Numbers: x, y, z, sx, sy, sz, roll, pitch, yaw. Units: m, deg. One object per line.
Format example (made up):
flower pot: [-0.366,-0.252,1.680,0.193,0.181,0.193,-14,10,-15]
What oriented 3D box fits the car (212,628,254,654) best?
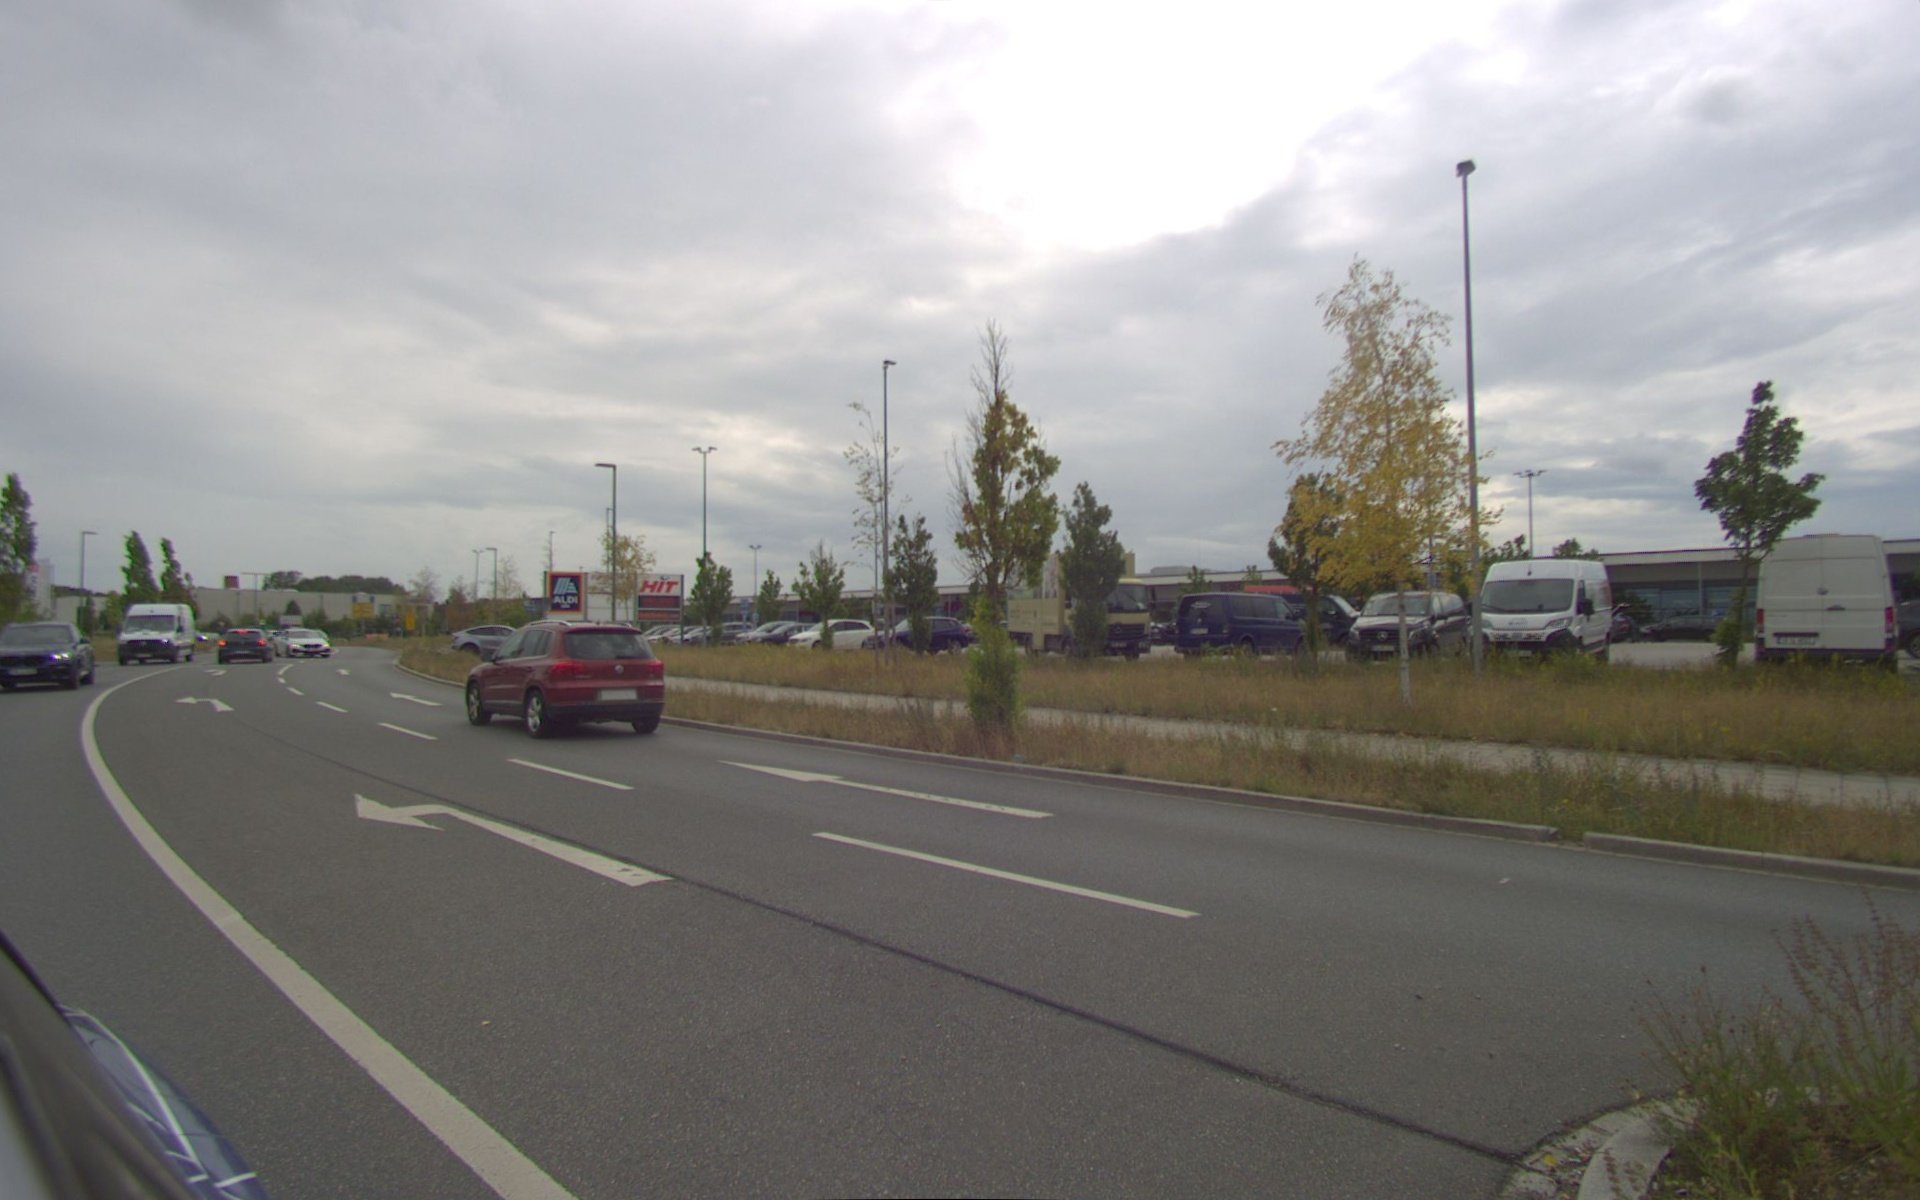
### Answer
car: [-47.126,2.659,65.552,1.731,1.597,4.004,1,-2,-43]

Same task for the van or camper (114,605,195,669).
van or camper: [-35.498,1.645,44.743,2.227,2.637,5.712,1,-3,-33]

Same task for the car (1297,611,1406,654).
car: [16.909,1.432,43.817,3.994,1.742,1.974,-2,-3,38]

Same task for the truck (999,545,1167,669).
truck: [3.753,0.307,33.476,2.811,3.568,8.449,0,-2,-12]

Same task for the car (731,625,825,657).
car: [-9.138,2.054,50.878,4.183,1.525,2.052,0,-2,-30]

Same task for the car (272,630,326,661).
car: [-34.123,2.317,52.204,1.856,1.480,4.200,2,-2,-40]

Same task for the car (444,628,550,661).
car: [-23.263,2.242,50.990,4.536,1.573,2.005,0,-2,-13]

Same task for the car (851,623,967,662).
car: [-1.996,1.667,40.118,4.176,1.446,2.002,1,-3,-36]

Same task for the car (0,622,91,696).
car: [-22.982,1.431,25.008,1.967,1.677,4.009,0,-2,-36]

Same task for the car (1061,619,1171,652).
car: [7.869,1.822,51.366,5.265,1.619,1.974,-2,-3,38]

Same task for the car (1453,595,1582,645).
car: [21.971,0.804,39.948,4.258,1.863,1.976,-1,-2,36]

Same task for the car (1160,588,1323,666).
car: [8.046,0.775,28.687,4.842,2.005,2.182,2,-3,-42]

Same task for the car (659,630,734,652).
car: [-16.945,2.621,65.231,4.254,1.350,2.032,1,-3,-33]

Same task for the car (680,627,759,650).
car: [-14.724,2.345,61.901,4.296,1.402,2.172,1,-3,-28]

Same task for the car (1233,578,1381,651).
car: [13.634,0.643,39.912,5.133,2.711,2.041,-2,-3,35]

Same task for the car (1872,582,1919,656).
car: [28.382,0.511,27.906,4.633,2.048,1.974,-2,-3,39]

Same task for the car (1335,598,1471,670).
car: [11.204,0.848,25.408,1.992,1.629,4.855,-2,-2,38]

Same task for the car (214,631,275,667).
car: [-30.297,2.060,42.935,1.804,1.431,4.258,1,-2,-31]

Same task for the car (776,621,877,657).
car: [-6.125,1.801,46.513,4.193,1.571,1.992,2,-3,-39]

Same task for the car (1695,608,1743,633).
car: [51.986,1.423,69.300,3.940,1.619,2.001,2,-3,-44]

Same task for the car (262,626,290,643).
car: [-69.303,3.536,102.649,1.966,1.649,4.716,3,-3,-30]

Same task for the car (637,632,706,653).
car: [-20.129,2.962,70.657,4.259,1.468,2.016,1,-3,-31]

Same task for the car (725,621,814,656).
car: [-10.053,2.011,53.459,4.185,1.736,2.033,1,-2,-34]

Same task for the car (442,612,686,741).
car: [-6.108,1.112,15.360,4.328,1.682,1.778,-2,-5,45]

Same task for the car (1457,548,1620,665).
car: [13.412,0.205,23.248,2.208,2.324,6.007,-2,-2,40]

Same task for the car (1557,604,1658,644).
car: [34.135,1.271,53.444,1.967,2.029,4.009,2,-3,-37]

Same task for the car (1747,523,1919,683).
car: [17.027,0.128,19.752,2.242,2.618,6.341,-2,-2,41]

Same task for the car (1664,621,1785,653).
car: [40.716,1.971,53.995,5.052,1.663,1.974,-2,-3,39]

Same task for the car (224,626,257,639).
car: [-112.457,5.038,158.307,1.631,2.029,3.972,-1,-2,21]

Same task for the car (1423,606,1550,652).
car: [19.514,1.094,37.560,3.991,1.614,1.653,-1,-2,36]

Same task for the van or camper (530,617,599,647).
van or camper: [-38.256,3.141,98.051,5.778,2.821,2.247,2,-2,-39]

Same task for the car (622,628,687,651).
car: [-22.636,2.900,75.046,4.241,1.667,2.086,1,-3,-32]
